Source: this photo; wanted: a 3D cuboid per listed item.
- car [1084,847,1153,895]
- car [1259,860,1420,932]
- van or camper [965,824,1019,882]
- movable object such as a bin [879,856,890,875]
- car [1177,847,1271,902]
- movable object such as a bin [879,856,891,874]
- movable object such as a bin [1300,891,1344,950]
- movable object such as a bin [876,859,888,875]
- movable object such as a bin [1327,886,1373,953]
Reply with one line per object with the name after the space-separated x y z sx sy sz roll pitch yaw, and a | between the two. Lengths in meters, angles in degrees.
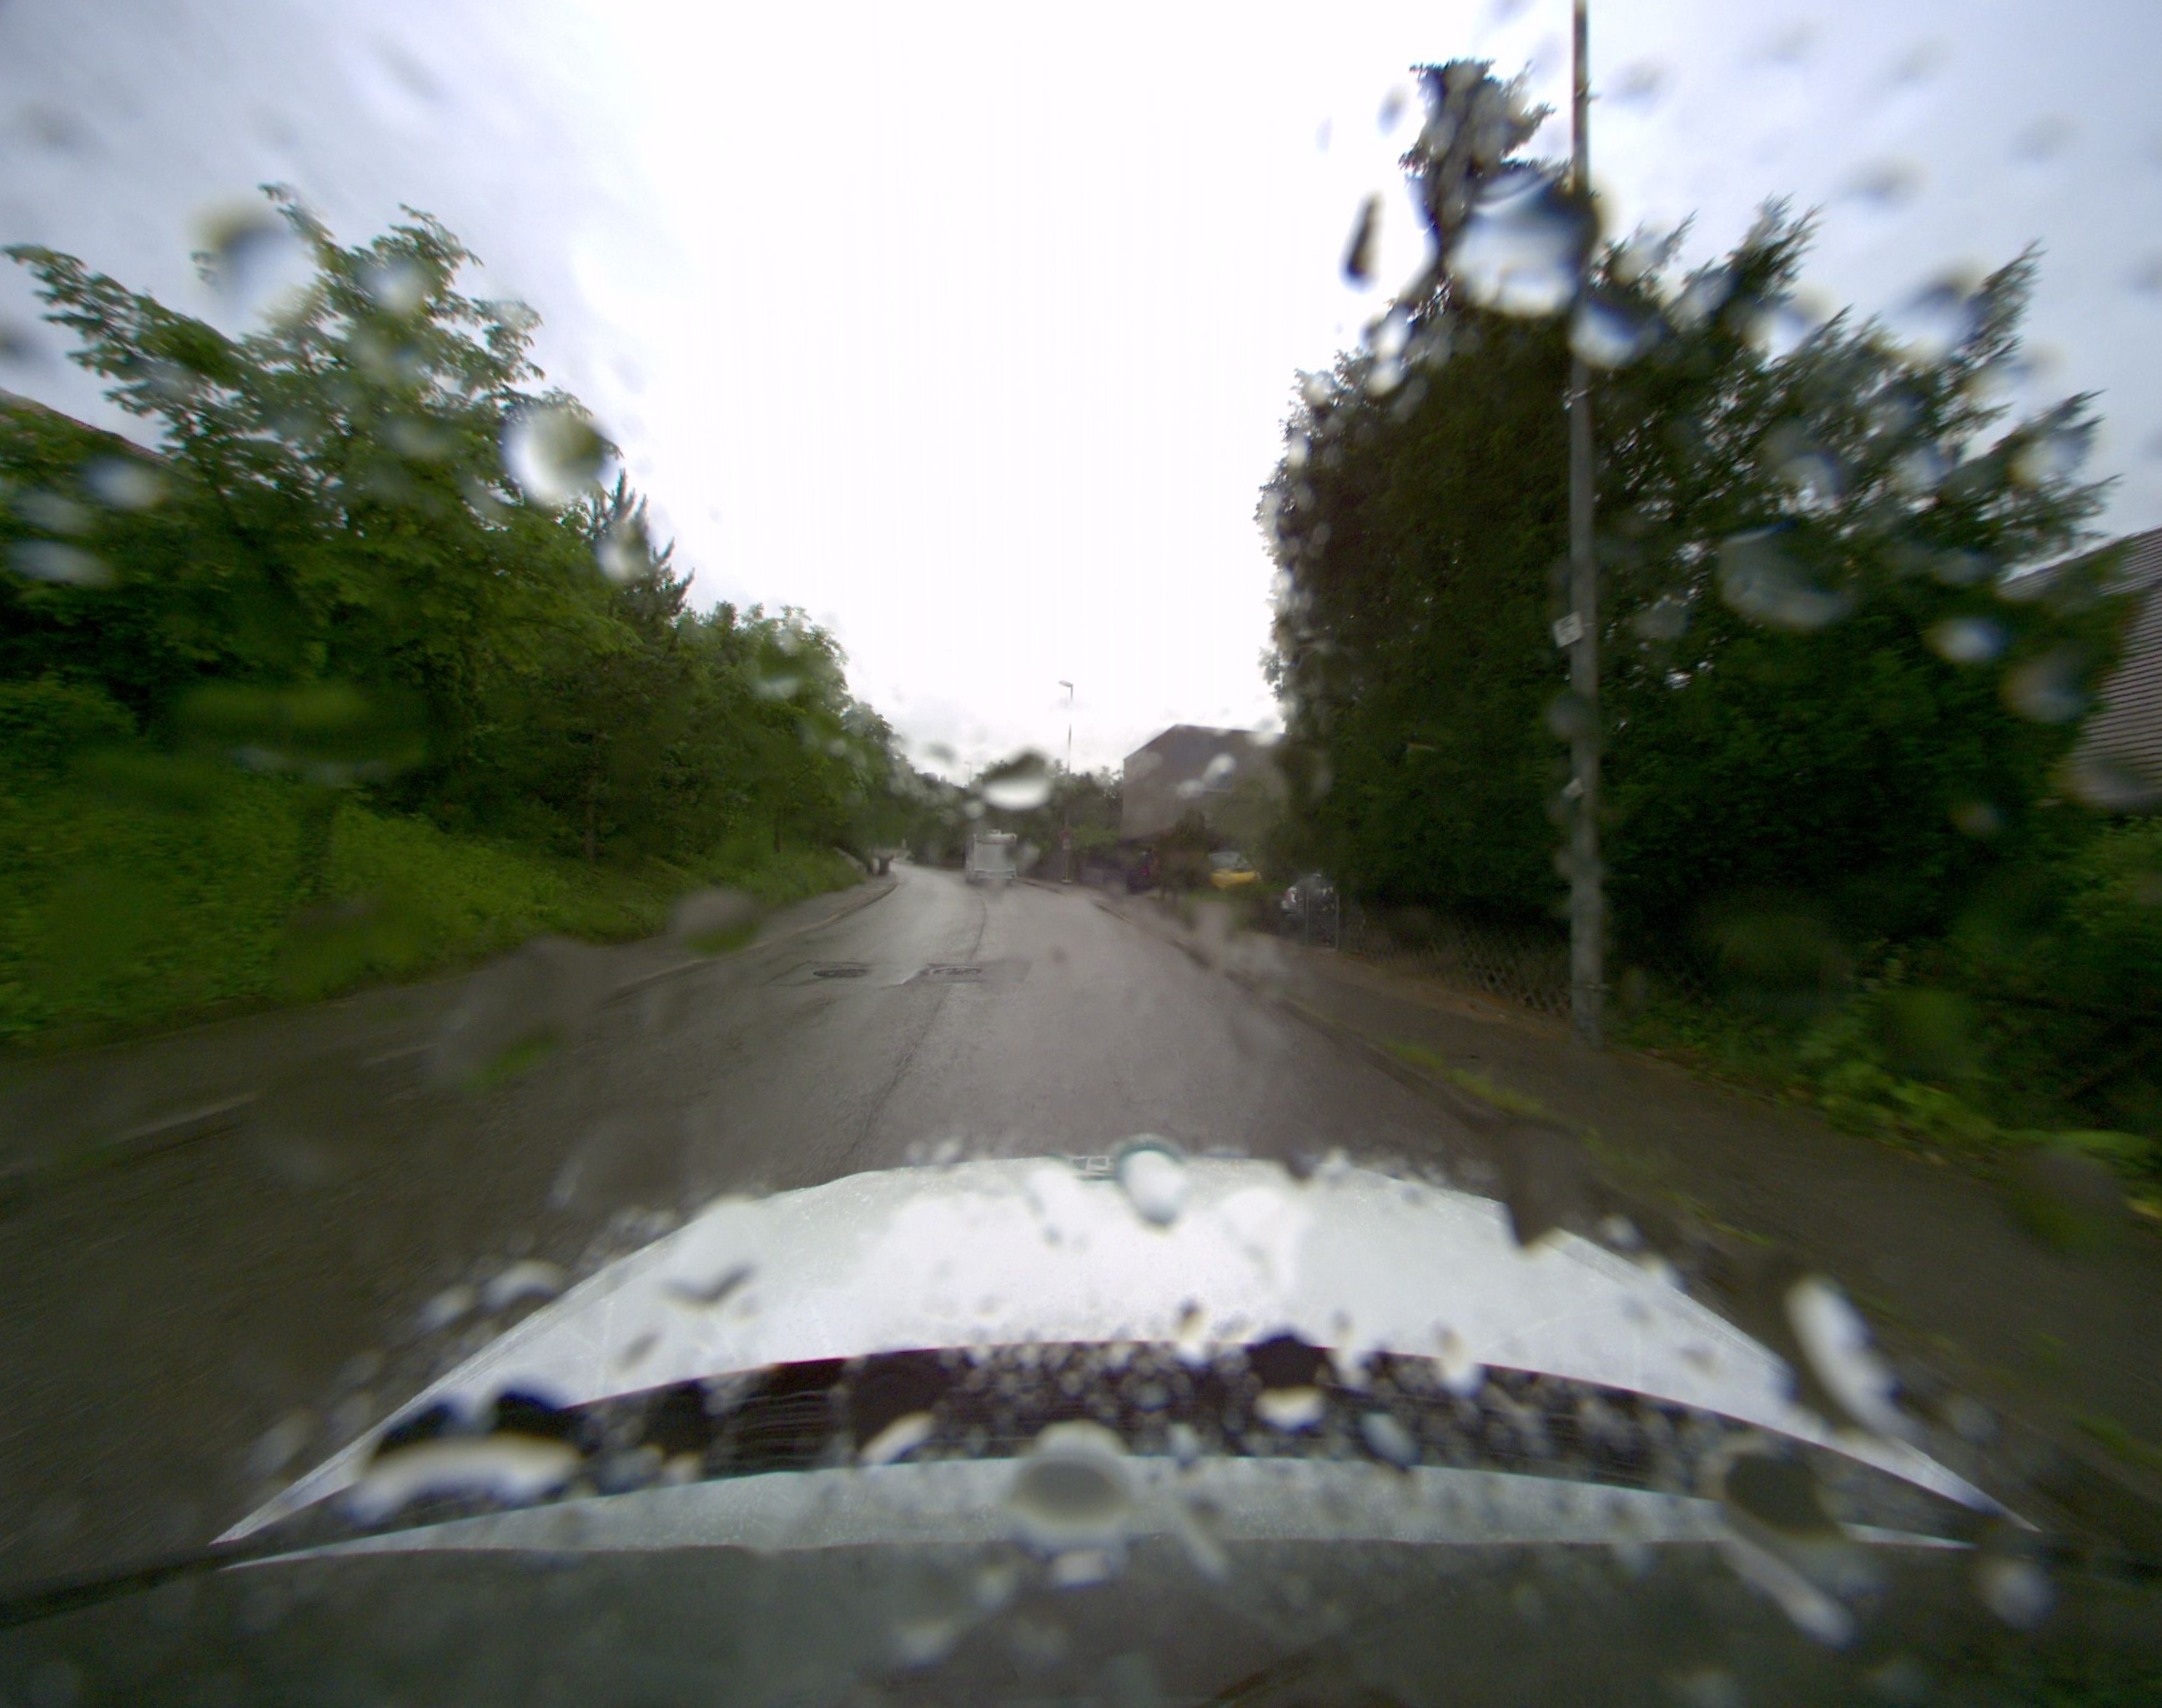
1.604 0.833 36.502 1.995 1.941 4.752 1 -3 -12 | car
6.483 1.038 20.356 3.786 1.661 1.758 1 -4 -31 | car
-4.946 -0.006 44.610 2.541 2.925 5.926 0 -1 -10 | van or camper
-11.999 0.700 49.712 0.649 1.081 0.670 2 -1 -13 | movable object such as a bin
4.424 0.629 25.661 1.630 1.493 3.411 -5 0 -13 | car
-12.125 0.700 50.386 0.649 1.104 0.670 2 -1 -13 | movable object such as a bin
4.252 1.171 14.402 0.504 0.969 0.593 4 -1 -7 | movable object such as a bin
-11.918 0.795 48.838 0.649 0.911 0.670 2 -1 -13 | movable object such as a bin
4.794 1.158 14.521 0.504 1.117 0.593 4 -1 -7 | movable object such as a bin
